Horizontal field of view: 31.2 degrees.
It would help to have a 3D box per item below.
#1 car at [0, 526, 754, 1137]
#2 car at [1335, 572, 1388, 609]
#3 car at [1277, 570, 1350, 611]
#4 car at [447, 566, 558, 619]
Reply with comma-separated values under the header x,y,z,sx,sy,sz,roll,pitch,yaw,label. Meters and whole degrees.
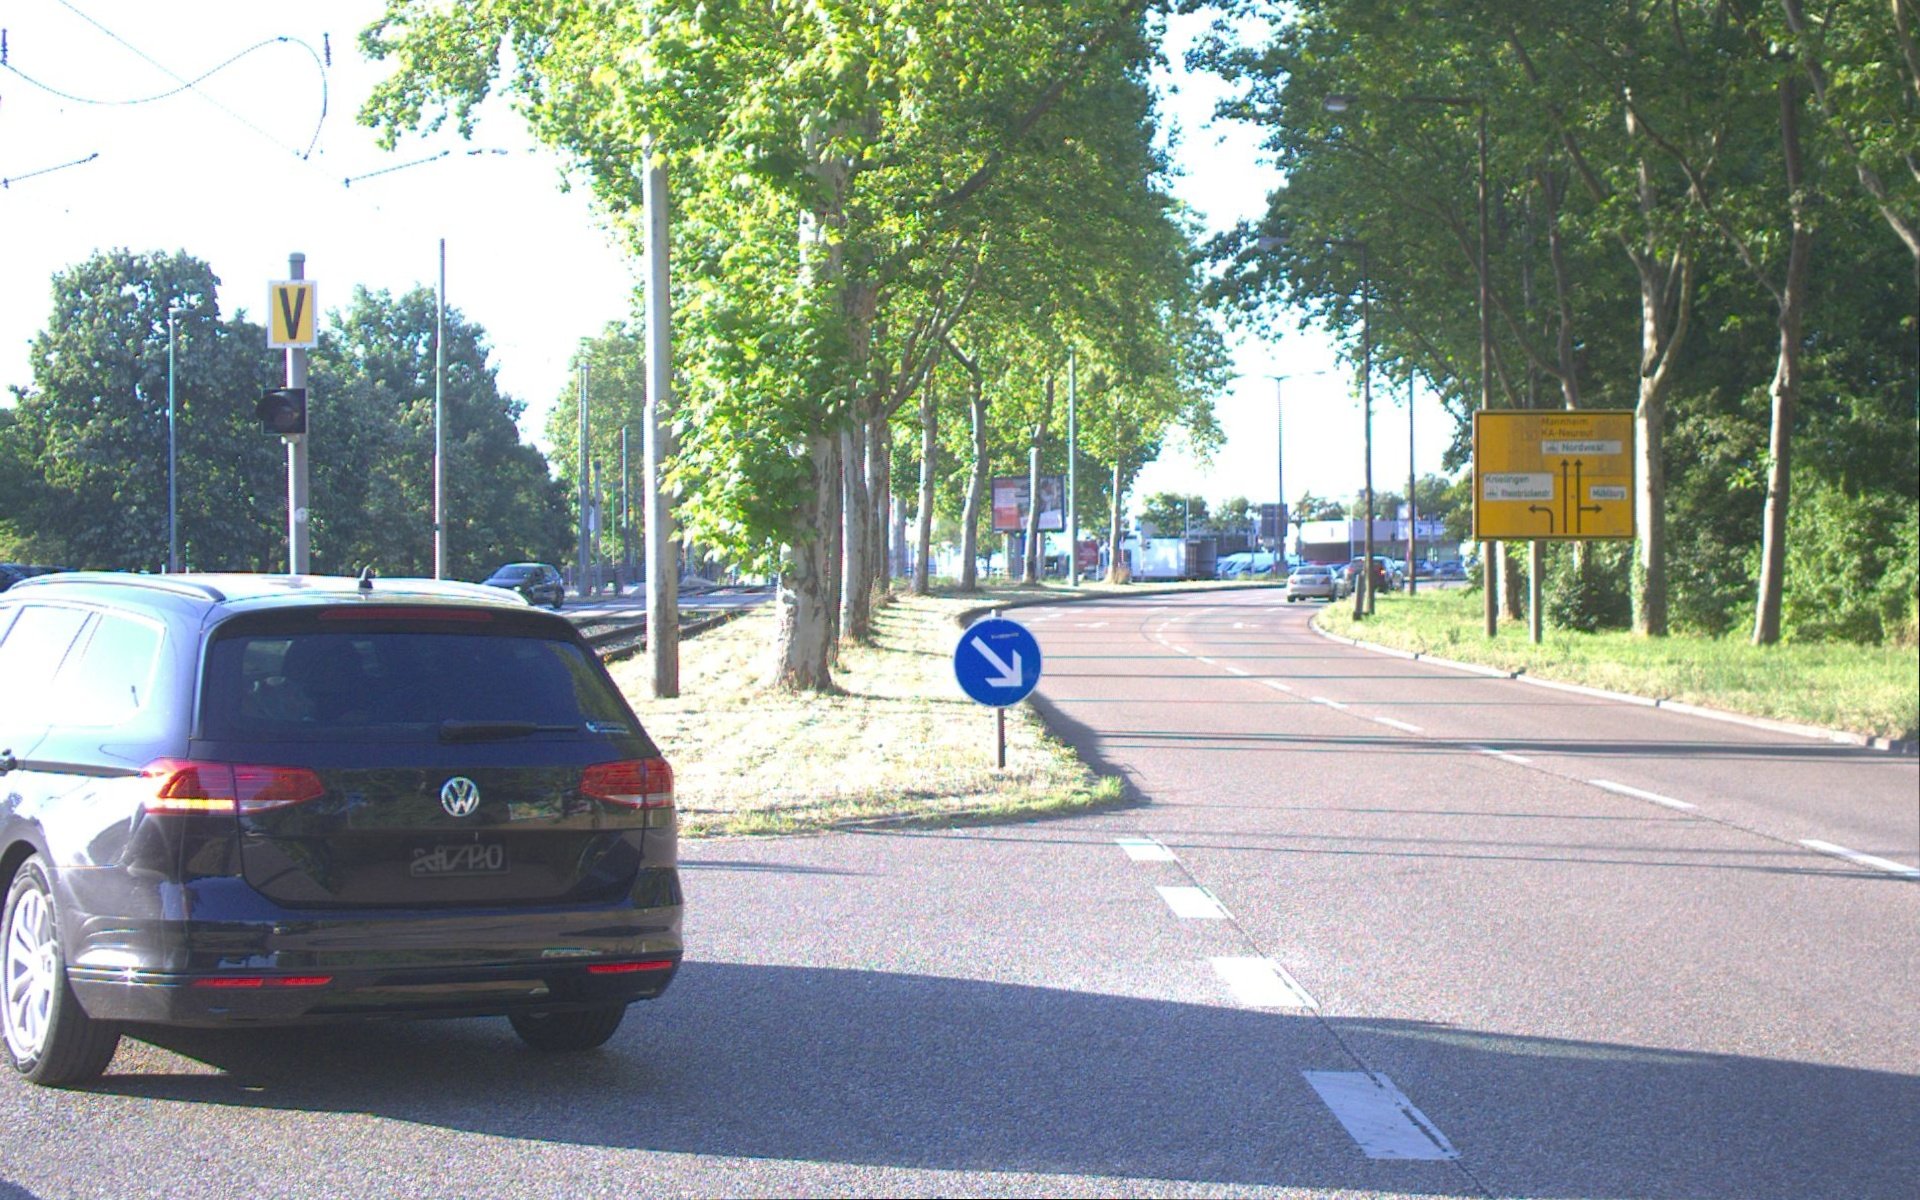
x,y,z,sx,sy,sz,roll,pitch,yaw,label
-2.442,0.581,11.018,1.824,1.550,4.259,1,0,-30,car
15.618,-0.370,133.623,1.994,1.435,3.999,1,0,8,car
12.720,-0.352,123.586,1.995,1.437,3.997,1,0,15,car
-14.765,-0.267,111.171,1.810,1.678,3.995,0,0,22,car
